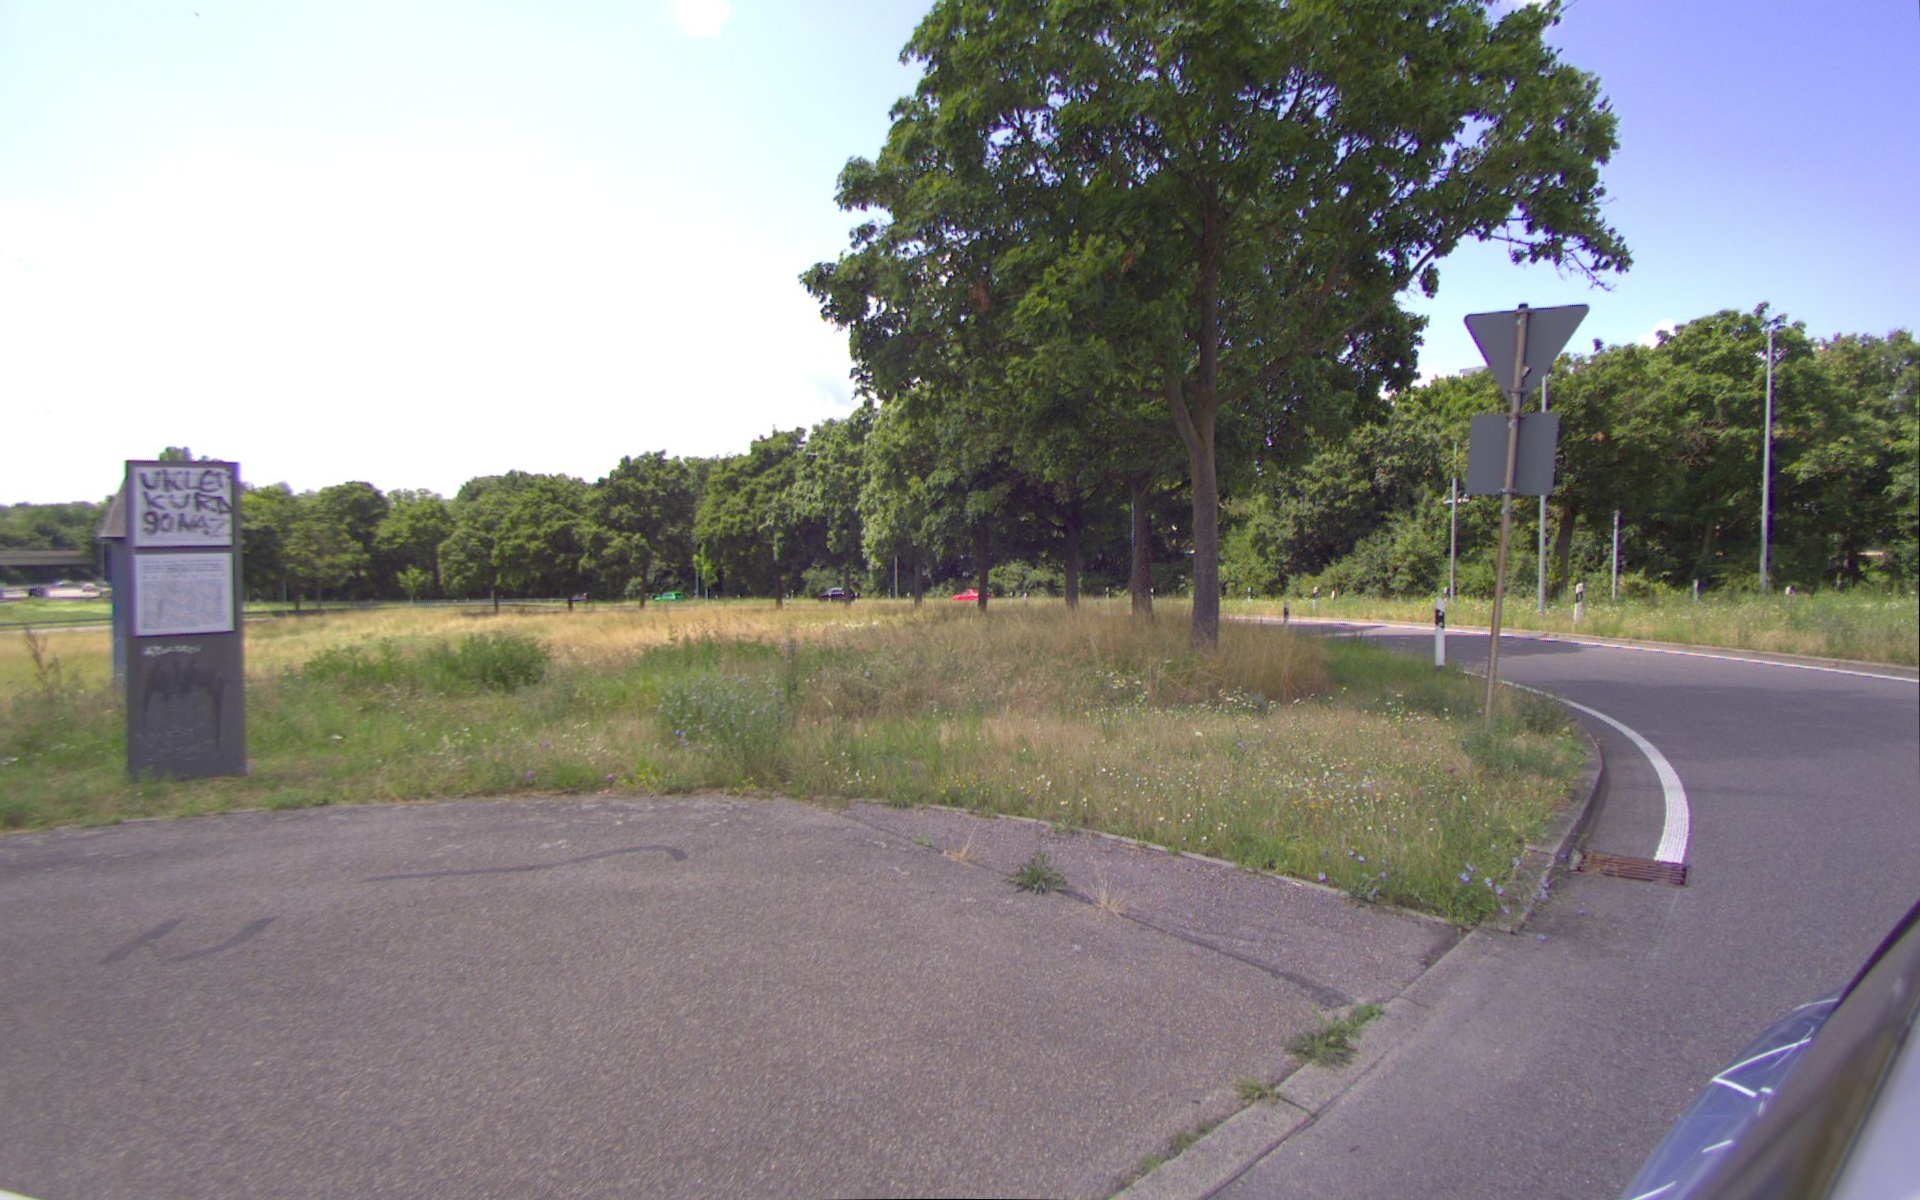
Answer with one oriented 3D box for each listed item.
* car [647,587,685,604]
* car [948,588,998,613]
[{"bbox_3d":[-34.510,-0.549,118.784,3.957,1.905,1.983,0,1,25],"label":"car"},{"bbox_3d":[1.085,0.001,86.301,1.968,2.039,3.988,-1,1,-45],"label":"car"}]
